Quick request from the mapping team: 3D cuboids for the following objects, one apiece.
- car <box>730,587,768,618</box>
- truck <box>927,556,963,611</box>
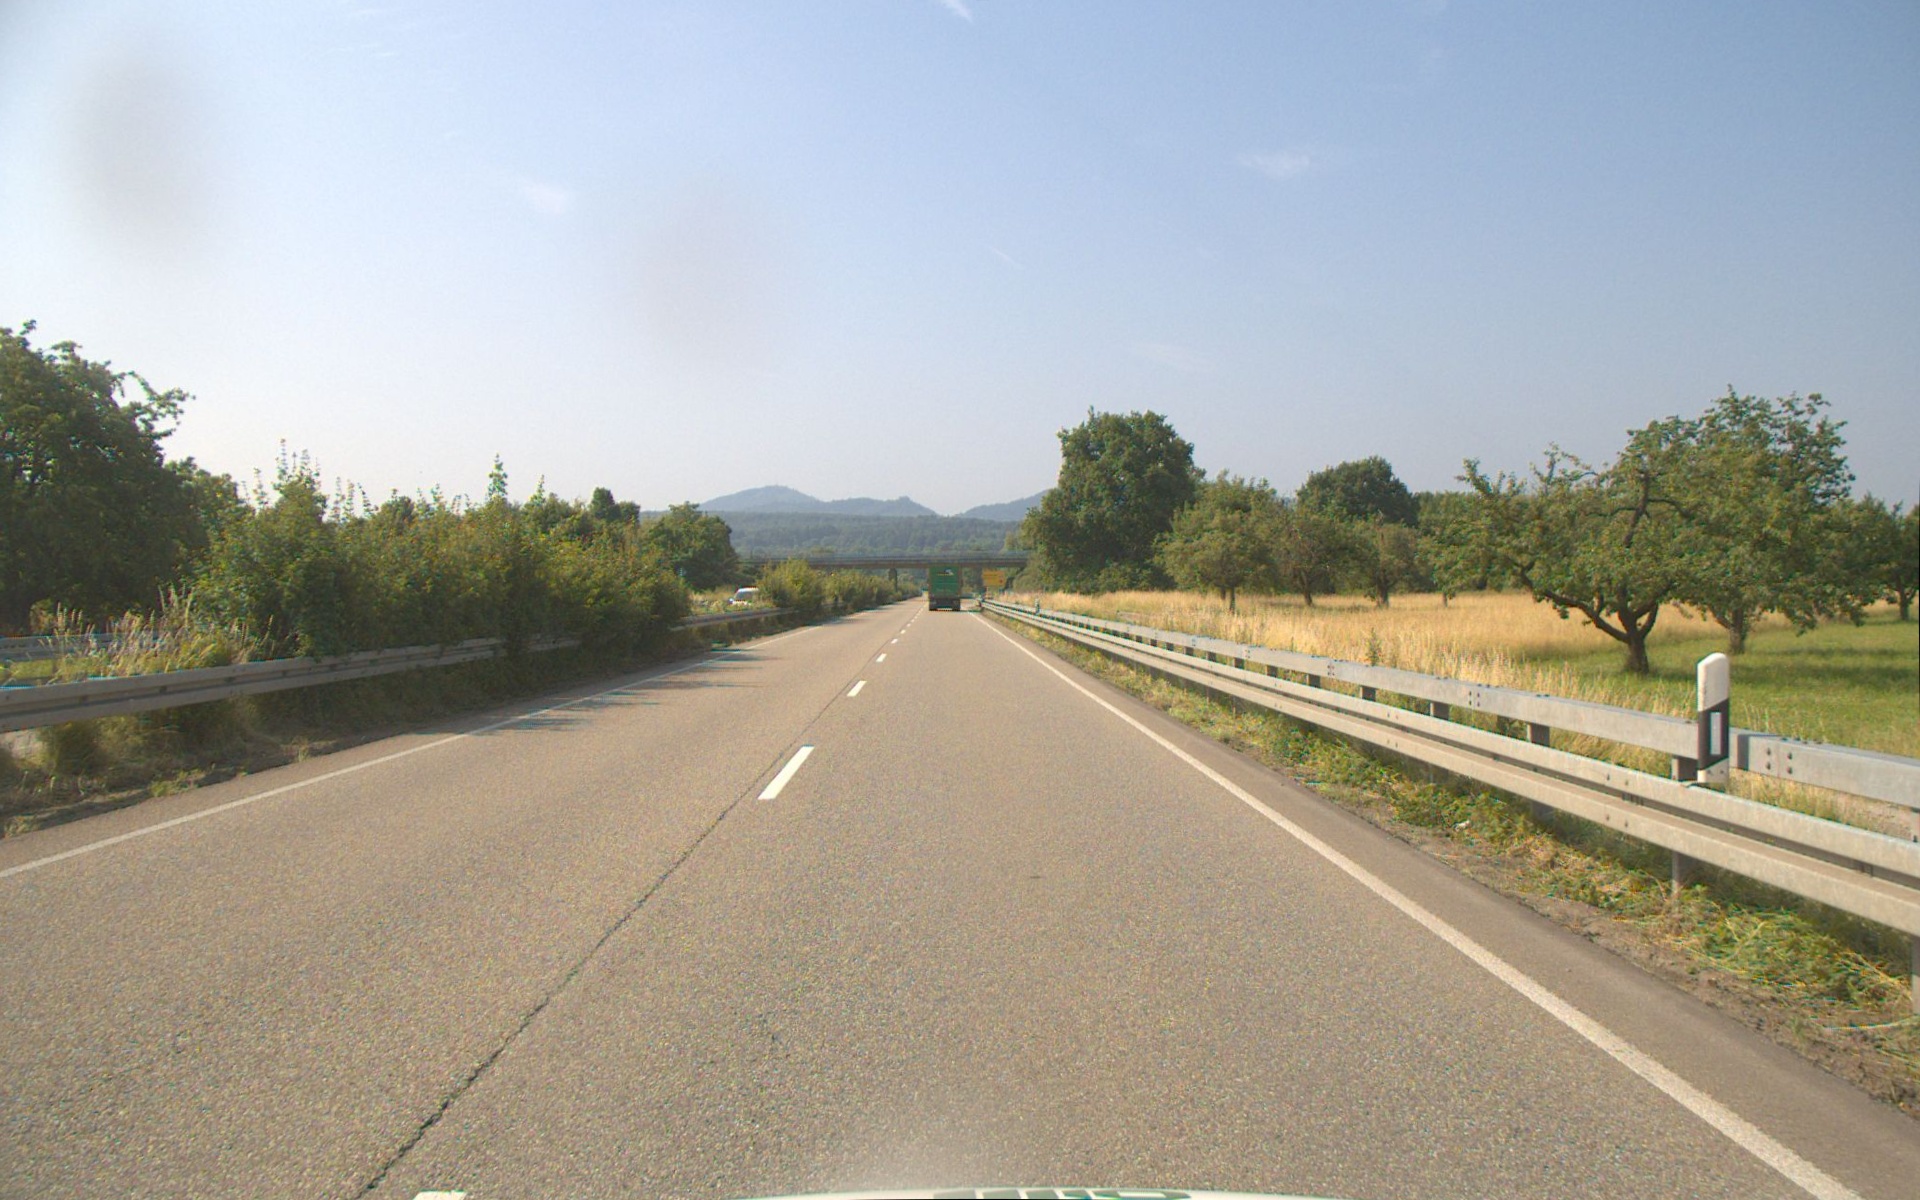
[{"bbox_3d":[-11.506,0.129,90.469,1.626,1.670,4.000,0,1,-1],"label":"car"},{"bbox_3d":[-1.144,-1.383,129.440,2.666,4.034,10.416,1,2,0],"label":"truck"}]
